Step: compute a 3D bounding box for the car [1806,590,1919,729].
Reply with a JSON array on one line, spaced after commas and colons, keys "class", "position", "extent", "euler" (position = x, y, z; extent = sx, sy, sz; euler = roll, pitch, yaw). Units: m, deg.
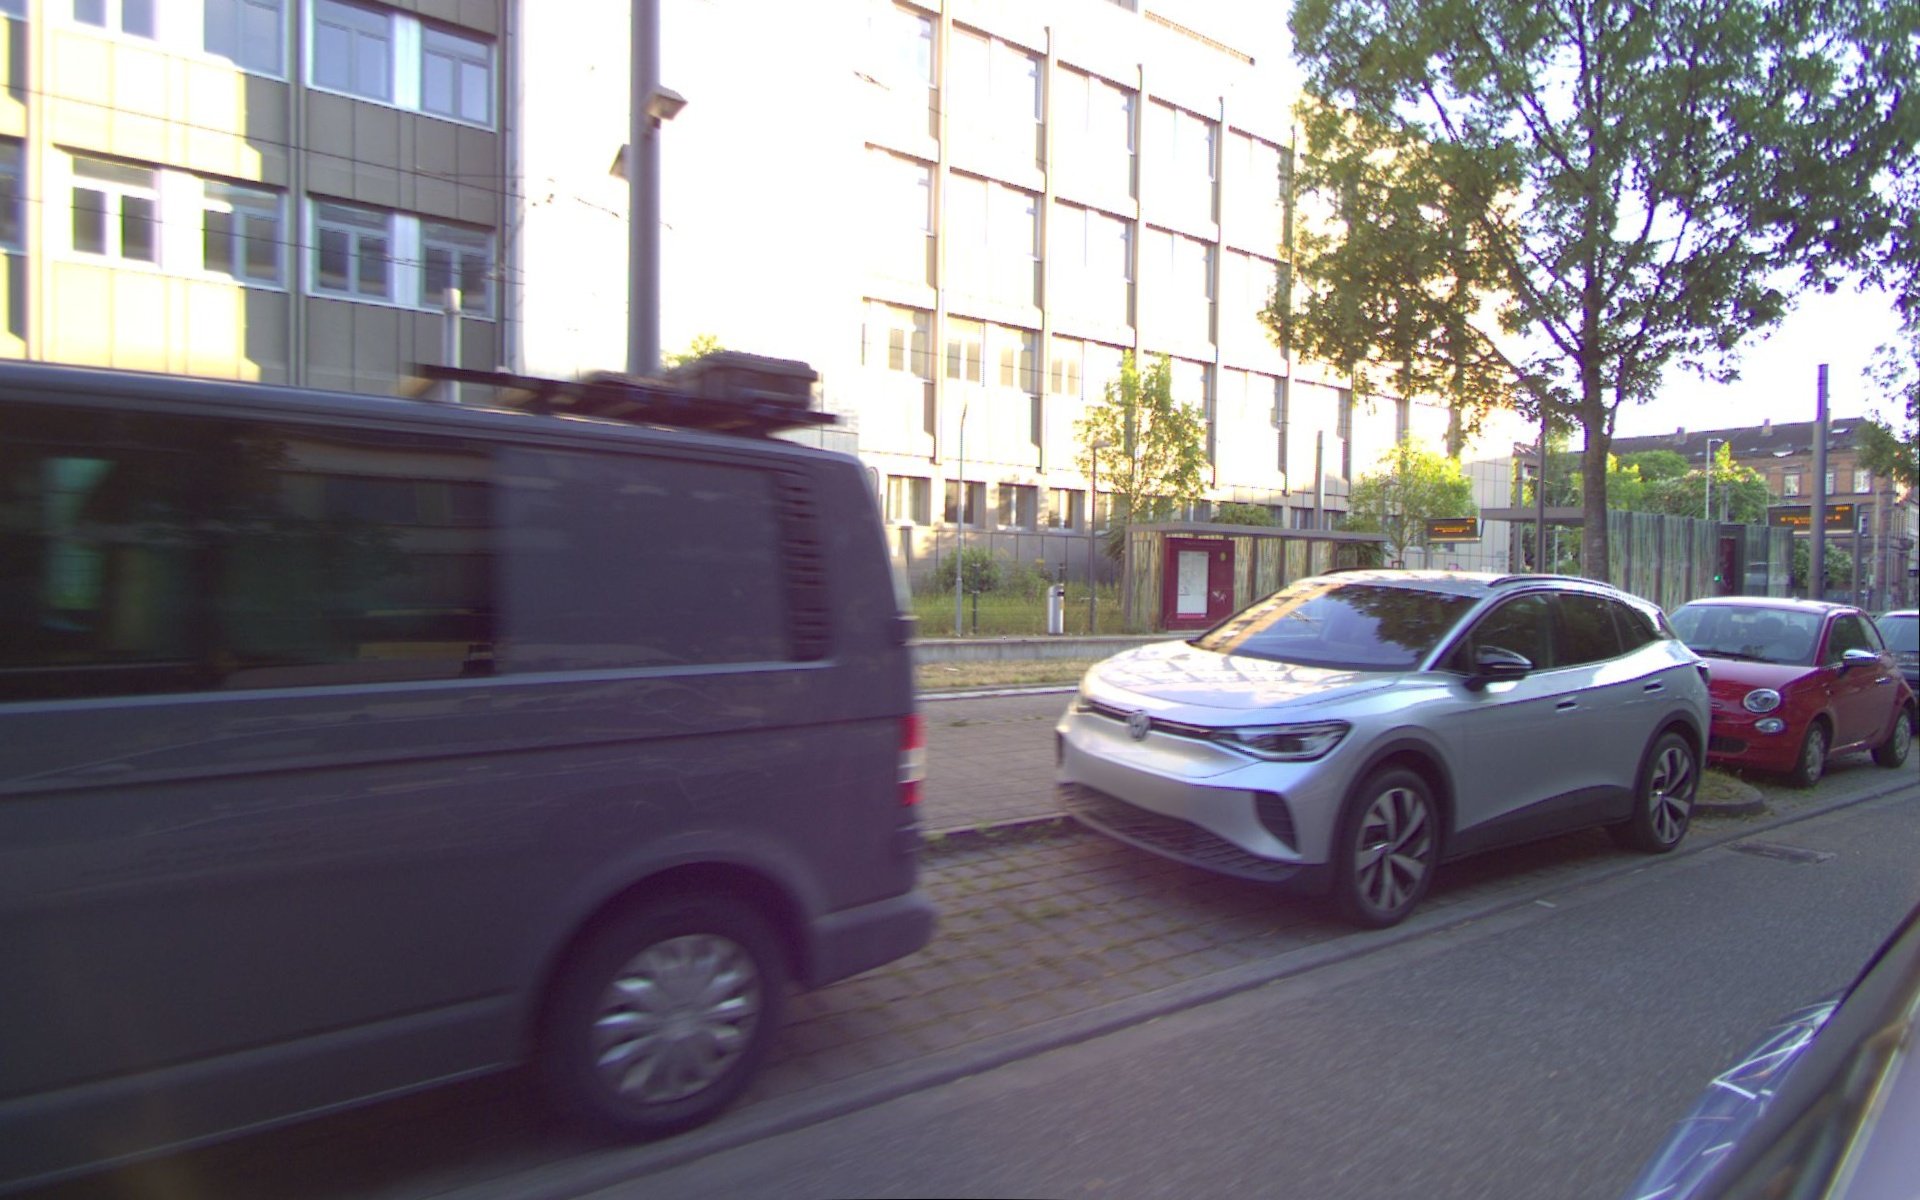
[{"class": "car", "position": [12.097, 0.656, 12.309], "extent": [3.923, 1.469, 1.714], "euler": [0, 3, -34]}]

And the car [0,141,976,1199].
[{"class": "car", "position": [-2.402, 0.219, 2.520], "extent": [4.645, 2.203, 1.811], "euler": [0, 3, -34]}]

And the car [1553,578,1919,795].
[{"class": "car", "position": [7.343, 0.604, 9.236], "extent": [4.051, 1.511, 1.714], "euler": [0, 3, -34]}]

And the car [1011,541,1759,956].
[{"class": "car", "position": [2.598, 0.533, 5.828], "extent": [4.391, 1.599, 1.715], "euler": [0, 3, -32]}]
